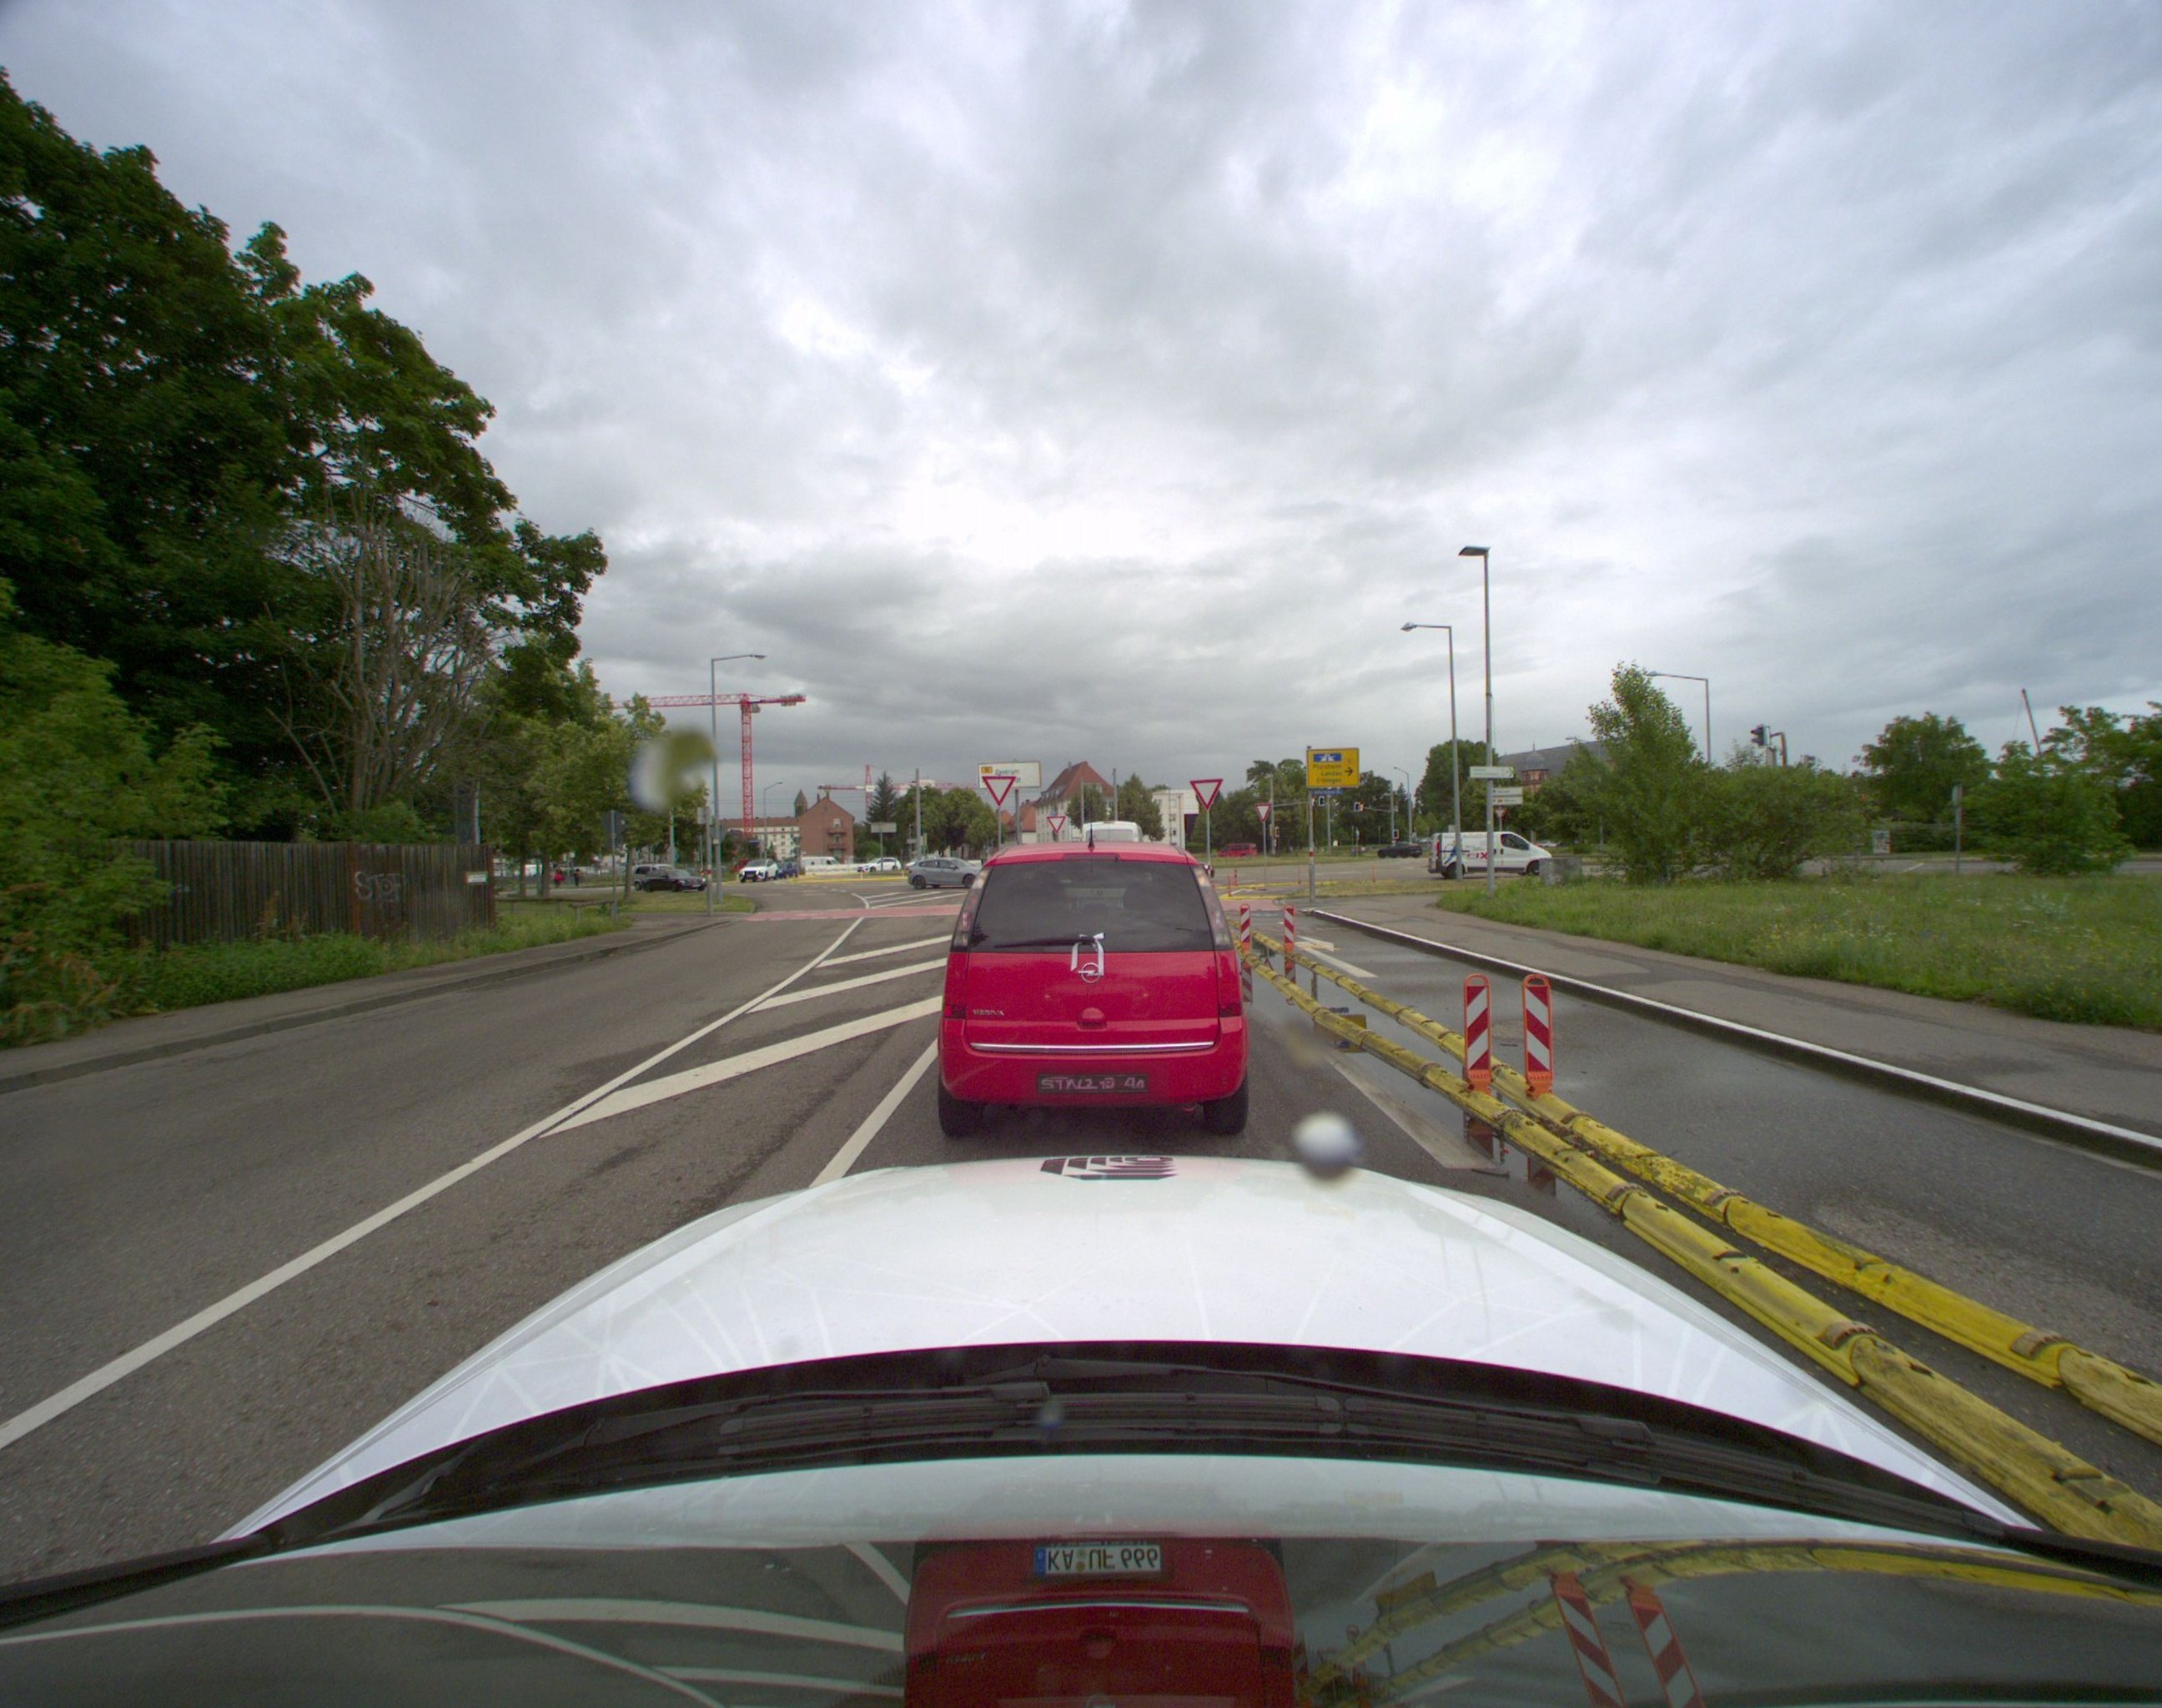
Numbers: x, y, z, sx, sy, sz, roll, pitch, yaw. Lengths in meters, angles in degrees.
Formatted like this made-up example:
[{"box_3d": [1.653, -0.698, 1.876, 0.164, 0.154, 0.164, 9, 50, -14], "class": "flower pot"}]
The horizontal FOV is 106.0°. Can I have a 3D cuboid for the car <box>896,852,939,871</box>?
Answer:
[{"box_3d": [-18.995, 0.839, 94.729, 4.490, 2.013, 1.981, -2, 0, -29], "class": "car"}]

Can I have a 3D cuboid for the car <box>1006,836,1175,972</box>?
[{"box_3d": [0.187, 0.608, 12.306, 2.052, 1.648, 4.609, -1, 0, 2], "class": "car"}]

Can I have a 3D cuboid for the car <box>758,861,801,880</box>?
[{"box_3d": [-25.237, 1.360, 68.362, 1.923, 1.489, 4.002, -2, 0, 2], "class": "car"}]

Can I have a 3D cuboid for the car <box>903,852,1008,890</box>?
[{"box_3d": [-5.954, 0.801, 38.734, 4.389, 1.602, 2.109, -2, 0, 19], "class": "car"}]

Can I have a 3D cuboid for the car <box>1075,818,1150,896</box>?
[{"box_3d": [1.221, 0.095, 29.079, 2.183, 2.540, 4.973, -1, 0, 7], "class": "car"}]

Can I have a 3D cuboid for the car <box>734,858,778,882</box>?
[{"box_3d": [-24.603, 1.191, 61.770, 1.928, 1.684, 4.180, -2, 0, -6], "class": "car"}]

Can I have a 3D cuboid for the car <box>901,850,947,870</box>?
[{"box_3d": [-16.543, 0.600, 85.900, 1.974, 2.013, 4.509, -2, 0, 37], "class": "car"}]

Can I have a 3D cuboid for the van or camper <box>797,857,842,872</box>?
[{"box_3d": [-39.436, 1.615, 122.774, 6.135, 2.013, 2.007, -2, 0, 12], "class": "van or camper"}]

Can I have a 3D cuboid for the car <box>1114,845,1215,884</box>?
[{"box_3d": [3.864, 0.471, 37.422, 4.398, 1.602, 2.105, -2, 0, 10], "class": "car"}]

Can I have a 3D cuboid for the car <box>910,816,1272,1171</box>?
[{"box_3d": [0.102, 0.645, 5.603, 1.667, 1.640, 3.629, -1, 0, 2], "class": "car"}]

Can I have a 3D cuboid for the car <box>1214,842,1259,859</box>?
[{"box_3d": [18.797, -0.397, 98.692, 4.826, 1.917, 2.129, -2, 0, 36], "class": "car"}]

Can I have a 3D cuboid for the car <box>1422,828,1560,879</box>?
[{"box_3d": [17.077, -0.019, 34.178, 4.797, 1.900, 2.107, -2, 0, 14], "class": "car"}]

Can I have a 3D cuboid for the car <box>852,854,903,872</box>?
[{"box_3d": [-20.222, 0.893, 81.278, 1.974, 1.635, 4.705, -2, 0, 37], "class": "car"}]

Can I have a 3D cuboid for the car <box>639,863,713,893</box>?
[{"box_3d": [-24.369, 1.456, 49.002, 3.949, 1.684, 2.012, -2, 0, 29], "class": "car"}]
